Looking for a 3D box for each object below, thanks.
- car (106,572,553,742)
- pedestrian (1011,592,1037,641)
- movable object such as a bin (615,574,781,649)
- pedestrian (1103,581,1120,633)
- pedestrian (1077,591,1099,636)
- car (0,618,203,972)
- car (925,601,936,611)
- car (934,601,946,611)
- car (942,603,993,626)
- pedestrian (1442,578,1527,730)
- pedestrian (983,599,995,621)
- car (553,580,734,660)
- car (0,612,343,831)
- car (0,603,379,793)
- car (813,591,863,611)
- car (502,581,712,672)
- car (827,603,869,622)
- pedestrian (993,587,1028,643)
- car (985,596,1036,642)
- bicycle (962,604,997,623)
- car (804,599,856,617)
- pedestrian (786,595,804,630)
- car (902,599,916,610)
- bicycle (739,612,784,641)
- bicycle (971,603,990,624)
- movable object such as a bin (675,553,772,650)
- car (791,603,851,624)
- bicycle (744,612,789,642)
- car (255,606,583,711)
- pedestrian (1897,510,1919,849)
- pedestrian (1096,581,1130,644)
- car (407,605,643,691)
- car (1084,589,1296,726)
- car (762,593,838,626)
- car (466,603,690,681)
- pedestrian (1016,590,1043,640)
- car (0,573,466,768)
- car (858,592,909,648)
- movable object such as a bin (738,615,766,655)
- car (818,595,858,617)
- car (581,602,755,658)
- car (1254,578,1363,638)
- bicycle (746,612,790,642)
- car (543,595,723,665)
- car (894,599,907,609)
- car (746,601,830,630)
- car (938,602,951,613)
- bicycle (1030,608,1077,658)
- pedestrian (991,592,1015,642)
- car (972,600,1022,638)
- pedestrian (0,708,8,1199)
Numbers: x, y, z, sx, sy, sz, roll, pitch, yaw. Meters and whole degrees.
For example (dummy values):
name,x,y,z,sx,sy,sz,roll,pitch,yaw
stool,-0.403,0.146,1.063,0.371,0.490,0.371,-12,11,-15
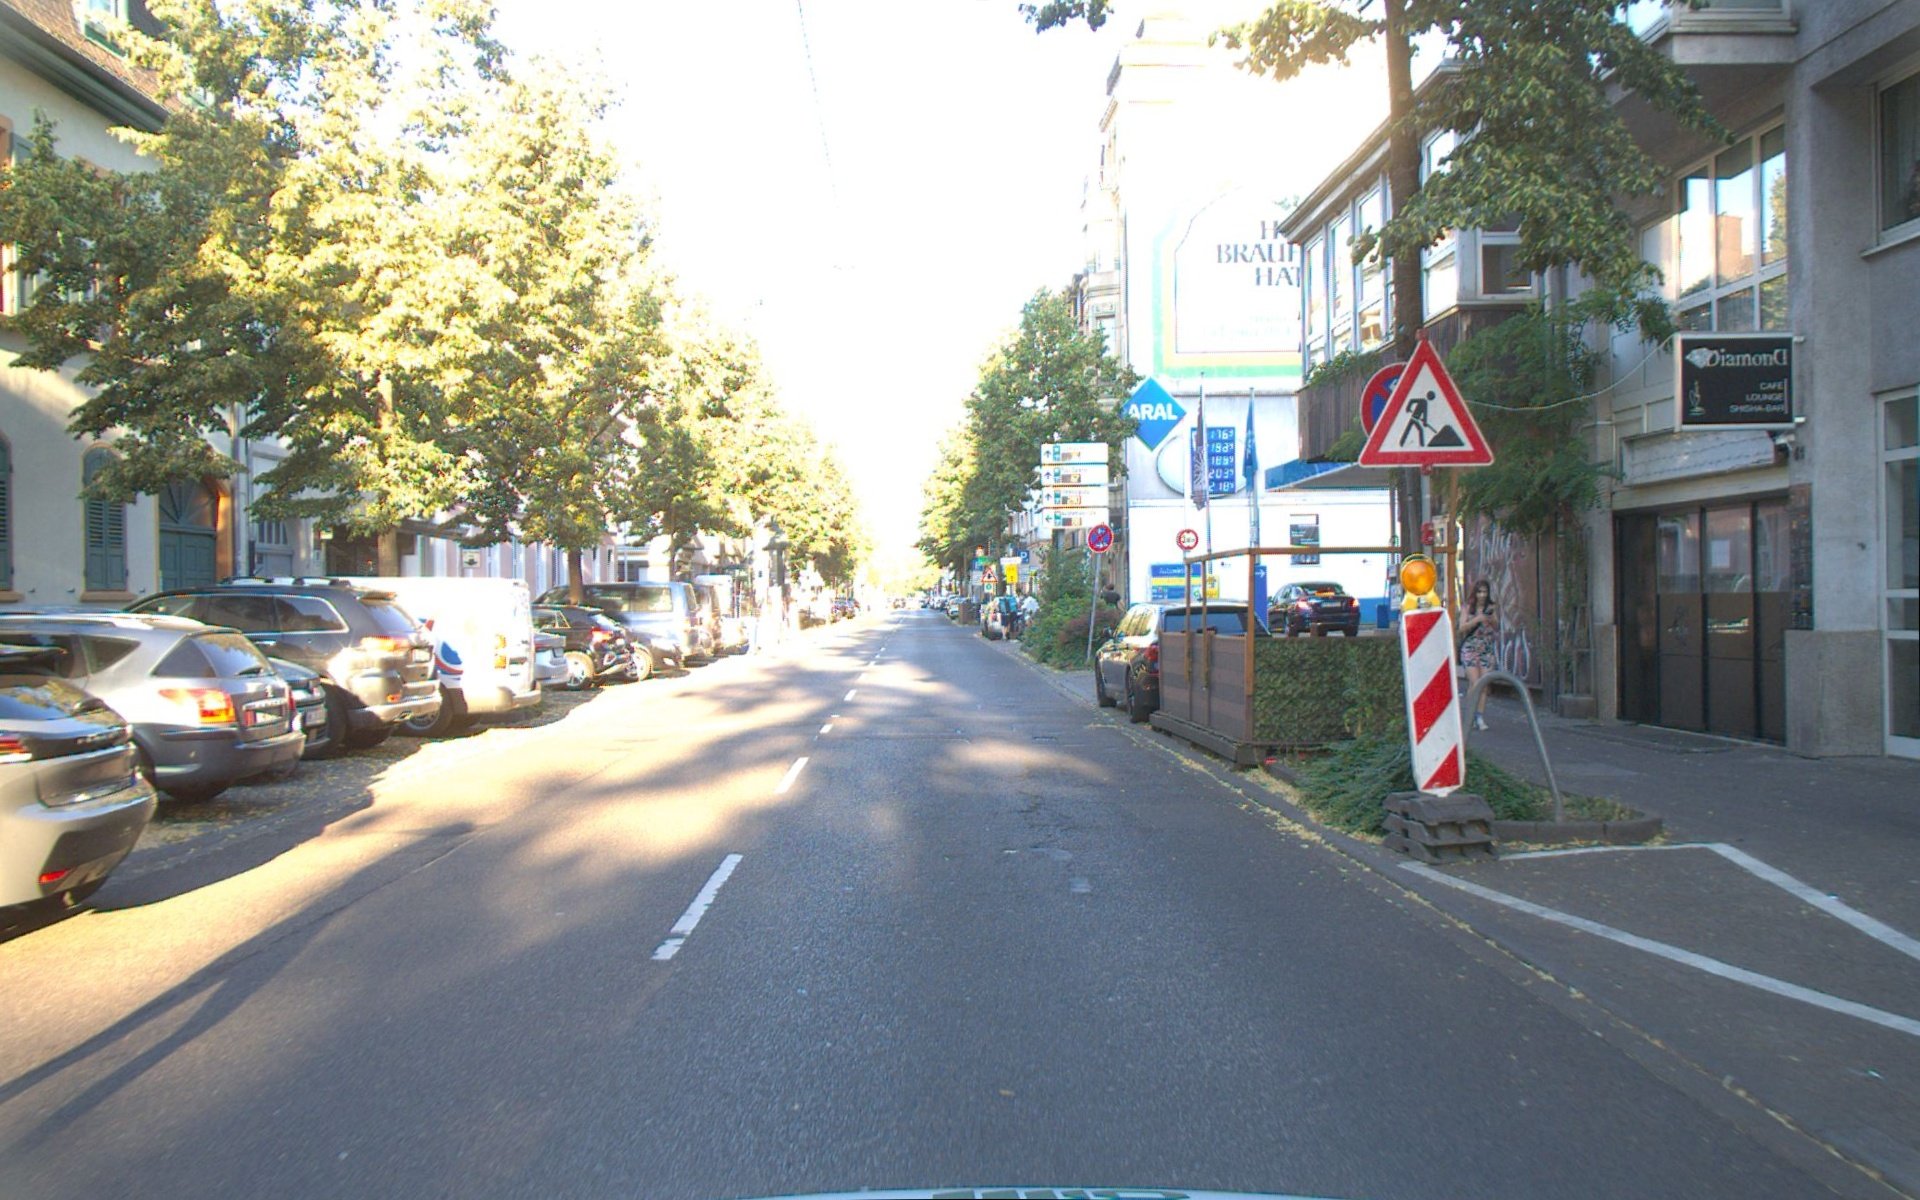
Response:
name,x,y,z,sx,sy,sz,roll,pitch,yaw
car,-7.686,0.667,20.536,4.772,1.941,1.973,-1,0,-2
pedestrian,2.337,0.602,60.344,0.666,1.735,0.821,-3,0,-16
movable object such as a bin,-9.220,0.378,58.720,2.272,2.539,5.721,-1,0,41
pedestrian,5.602,0.263,61.274,0.452,1.908,0.499,-1,0,-17
pedestrian,4.698,0.489,60.644,0.645,1.589,0.701,-3,0,-2
car,-5.948,0.863,7.777,3.978,1.487,1.684,-1,0,-4
car,-4.486,0.911,250.907,1.717,1.567,3.303,-1,-1,0
car,-2.611,0.840,217.119,1.482,1.285,3.303,0,-1,0
car,0.545,1.013,119.506,1.645,1.616,3.802,0,0,41
pedestrian,5.523,0.559,17.447,0.598,1.552,0.773,-2,0,-1
pedestrian,1.807,0.618,102.648,0.711,1.402,0.781,0,0,-2
car,-8.205,0.514,43.163,4.394,2.010,1.964,0,0,-4
car,-7.080,0.881,12.667,3.956,1.509,1.962,-1,0,-2
car,-7.649,0.848,15.115,3.954,1.582,1.964,-1,0,1
car,-11.003,0.102,148.937,4.352,1.790,1.918,0,0,-1
car,-8.020,0.579,37.900,4.392,2.010,2.068,0,0,-1
car,-11.946,1.315,176.171,4.352,1.994,1.918,0,0,-1
pedestrian,1.747,0.526,57.260,0.996,1.857,0.778,-3,0,-11
car,1.882,0.696,63.127,1.653,1.602,4.012,-3,0,-1
bicycle,1.093,0.776,94.859,1.918,1.092,0.704,0,0,30
car,-11.155,0.716,142.423,4.352,1.549,1.918,0,0,-1
pedestrian,-8.296,0.624,83.169,0.695,1.716,0.834,0,0,7
car,-7.079,0.624,229.664,1.717,1.567,3.303,-1,-1,0
bicycle,-7.721,1.034,64.322,1.649,1.097,0.444,2,-2,-2
bicycle,1.198,0.797,96.323,0.585,1.198,1.847,0,0,18
movable object such as a bin,-7.726,0.060,54.577,2.572,3.021,5.301,0,0,-2
car,-10.495,1.005,125.039,4.352,1.595,1.918,0,0,-1
bicycle,-7.582,1.054,64.917,1.647,1.097,0.445,2,-1,6
car,-8.117,0.860,25.092,4.386,1.511,1.734,0,0,0
pedestrian,5.602,0.416,8.581,0.839,1.826,0.996,-2,0,-5
pedestrian,4.762,0.383,51.525,0.806,1.886,1.096,-3,0,-3
car,-8.025,0.872,30.767,3.842,1.527,1.905,0,0,1
car,2.891,0.672,21.862,1.792,1.514,4.846,-3,0,-3
car,-9.699,0.563,100.639,4.479,1.996,1.990,0,0,-2
car,-7.721,0.842,33.783,4.243,1.527,1.839,0,0,-7
pedestrian,2.510,0.539,59.741,0.657,1.730,0.649,-3,0,44
car,-7.704,0.702,17.528,4.338,1.903,1.893,-1,0,-1
car,-2.727,0.688,59.626,1.674,1.855,4.012,-3,0,-1
movable object such as a bin,-6.091,1.018,48.445,0.676,1.124,0.883,-1,0,0
car,-13.707,0.724,186.303,4.352,2.477,1.918,0,-1,-1
car,-8.129,0.830,46.361,4.499,1.495,1.893,0,0,1
car,9.215,0.238,44.089,1.699,1.456,4.906,-2,-1,-2
bicycle,-7.612,1.070,65.508,1.647,1.097,0.445,2,-1,6
car,-7.973,0.719,40.598,4.046,1.665,1.860,0,0,-1
car,-8.892,0.609,246.994,1.717,1.567,3.303,-1,-1,0
car,-9.385,0.828,90.314,4.455,1.568,1.810,0,0,-3
car,-1.867,0.930,199.010,1.482,1.298,3.303,0,-1,0
bicycle,2.361,0.811,41.619,0.473,1.163,1.678,-3,0,29
pedestrian,1.550,0.605,60.088,0.665,1.785,0.823,-1,-1,-12
car,1.486,0.758,67.598,1.749,1.399,4.522,-3,0,-2
pedestrian,-2.626,0.718,3.426,0.810,1.667,0.827,-1,0,-1
